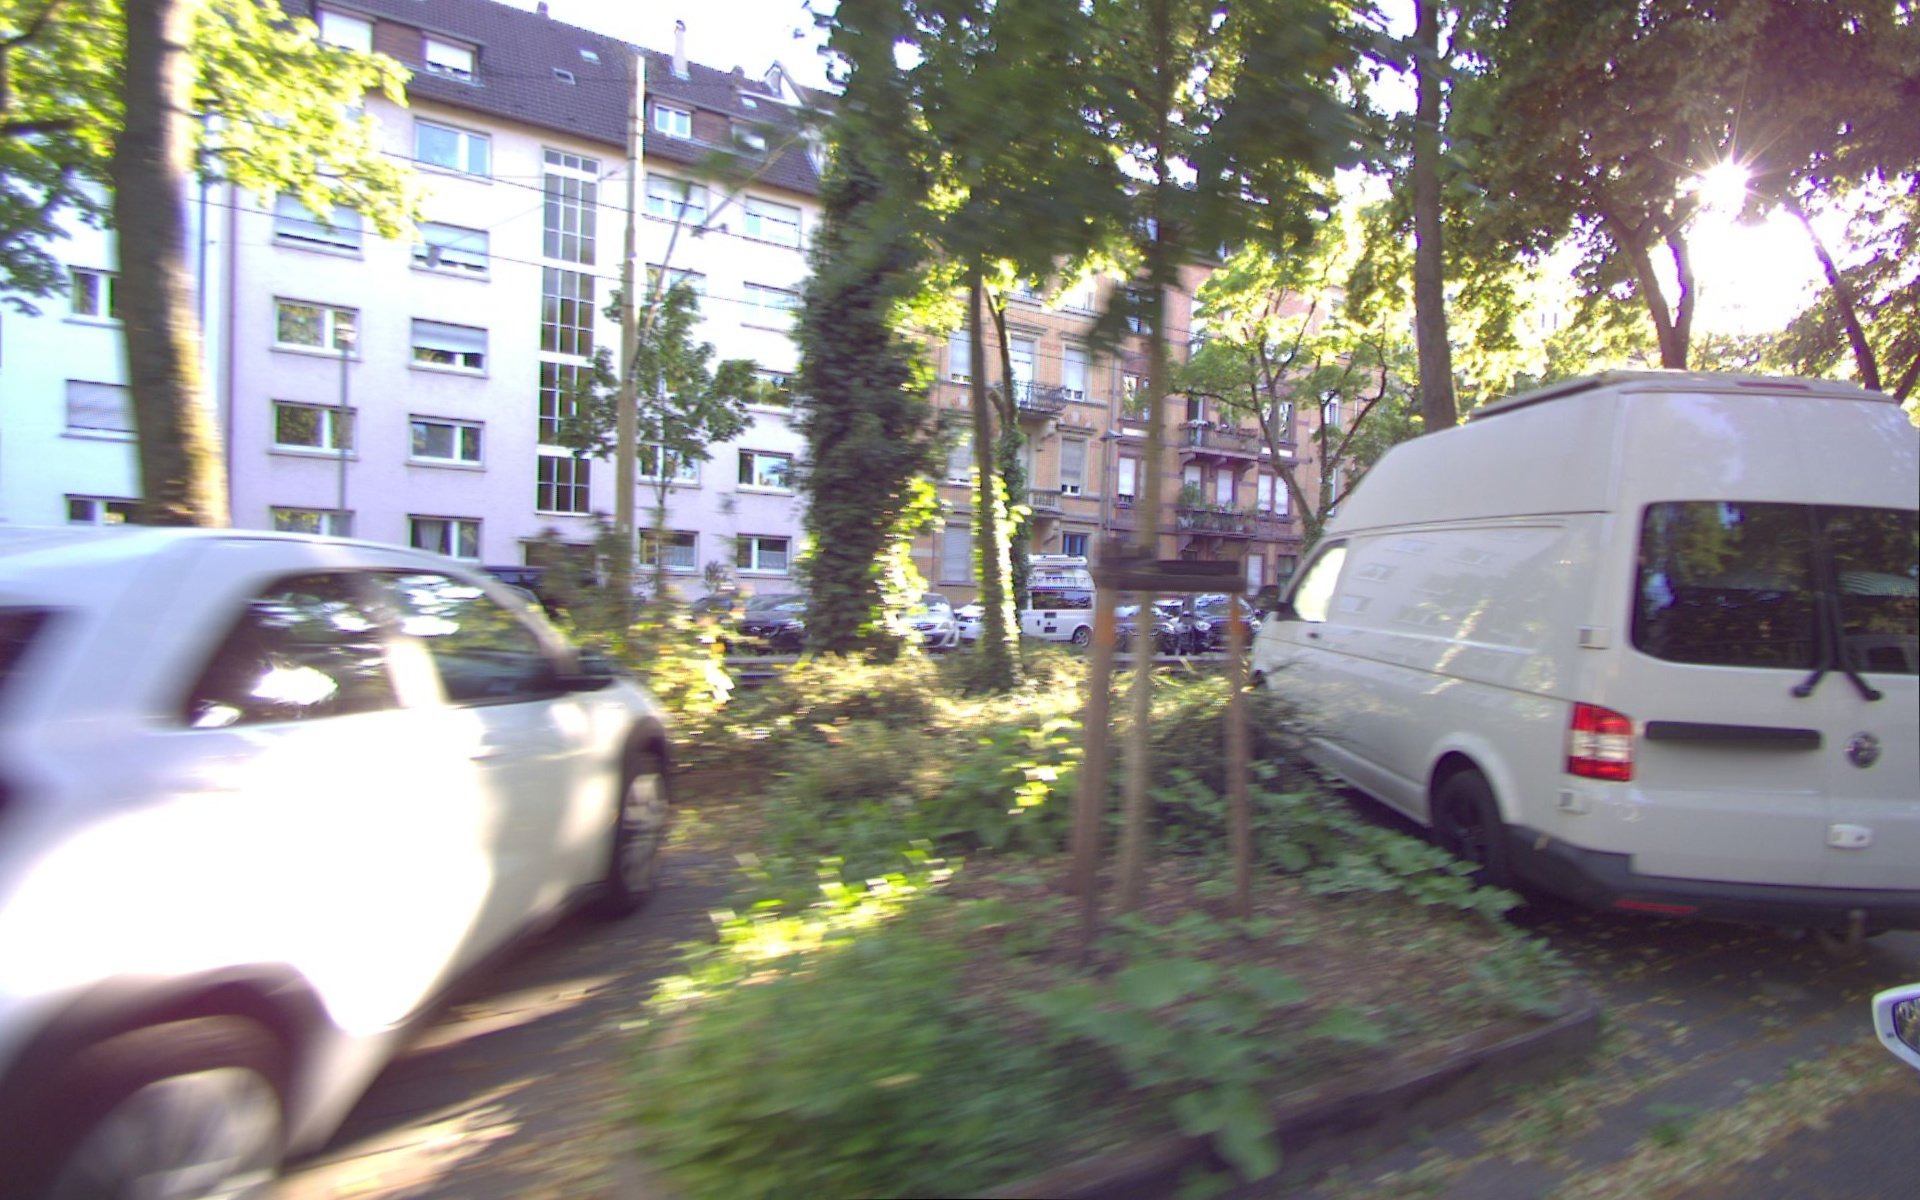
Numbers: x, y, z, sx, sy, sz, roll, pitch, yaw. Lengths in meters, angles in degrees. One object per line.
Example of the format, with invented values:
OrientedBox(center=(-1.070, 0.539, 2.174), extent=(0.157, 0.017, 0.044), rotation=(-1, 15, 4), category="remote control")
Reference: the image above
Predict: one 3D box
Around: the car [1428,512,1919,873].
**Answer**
OrientedBox(center=(5.914, 0.469, 8.083), extent=(2.004, 2.004, 4.886), rotation=(3, 2, 2), category="car")

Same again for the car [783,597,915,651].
OrientedBox(center=(-3.331, 0.685, 30.125), extent=(3.465, 1.423, 1.842), rotation=(1, 3, -29), category="car")

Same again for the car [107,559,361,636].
OrientedBox(center=(-15.919, -0.056, 22.353), extent=(4.364, 1.517, 1.842), rotation=(1, 3, -29), category="car")

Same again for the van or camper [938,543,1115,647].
OrientedBox(center=(2.209, -0.124, 32.859), extent=(5.448, 3.151, 2.065), rotation=(2, 1, -29), category="van or camper")

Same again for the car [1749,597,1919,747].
OrientedBox(center=(11.299, 0.853, 11.437), extent=(1.789, 1.514, 3.550), rotation=(3, 3, 2), category="car")

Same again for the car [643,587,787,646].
OrientedBox(center=(-6.740, 0.434, 27.639), extent=(3.465, 1.423, 1.842), rotation=(1, 3, -29), category="car")

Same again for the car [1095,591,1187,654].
OrientedBox(center=(4.430, 0.626, 25.135), extent=(1.868, 1.403, 4.328), rotation=(1, -3, 5), category="car")

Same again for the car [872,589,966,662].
OrientedBox(center=(-0.793, 0.530, 21.753), extent=(1.768, 1.400, 4.001), rotation=(1, -1, 1), category="car")

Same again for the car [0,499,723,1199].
OrientedBox(center=(-2.095, 0.504, 2.964), extent=(1.789, 1.514, 3.550), rotation=(3, 3, 2), category="car")

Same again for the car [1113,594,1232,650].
OrientedBox(center=(7.605, 0.759, 35.981), extent=(3.869, 1.807, 1.842), rotation=(1, 3, -29), category="car")

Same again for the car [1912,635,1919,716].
OrientedBox(center=(13.720, 0.981, 11.710), extent=(1.789, 1.458, 3.826), rotation=(4, 3, 7), category="car")

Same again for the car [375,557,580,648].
OrientedBox(center=(-11.771, 0.049, 24.630), extent=(4.364, 2.021, 1.842), rotation=(1, 3, -29), category="car")

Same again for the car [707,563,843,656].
OrientedBox(center=(-3.607, 0.192, 20.316), extent=(1.703, 1.669, 4.002), rotation=(1, -1, 4), category="car")

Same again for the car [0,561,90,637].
OrientedBox(center=(-19.835, -0.046, 19.986), extent=(3.465, 1.423, 1.842), rotation=(1, 3, -29), category="car")

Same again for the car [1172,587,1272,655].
OrientedBox(center=(6.788, 0.533, 26.461), extent=(1.868, 1.603, 4.327), rotation=(1, -1, 6), category="car")

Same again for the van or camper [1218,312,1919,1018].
OrientedBox(center=(3.281, 0.173, 6.094), extent=(2.005, 2.504, 4.885), rotation=(3, 2, 0), category="van or camper")

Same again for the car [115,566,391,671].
OrientedBox(center=(-11.174, 0.258, 16.270), extent=(1.738, 1.446, 3.998), rotation=(2, 0, -3), category="car")
